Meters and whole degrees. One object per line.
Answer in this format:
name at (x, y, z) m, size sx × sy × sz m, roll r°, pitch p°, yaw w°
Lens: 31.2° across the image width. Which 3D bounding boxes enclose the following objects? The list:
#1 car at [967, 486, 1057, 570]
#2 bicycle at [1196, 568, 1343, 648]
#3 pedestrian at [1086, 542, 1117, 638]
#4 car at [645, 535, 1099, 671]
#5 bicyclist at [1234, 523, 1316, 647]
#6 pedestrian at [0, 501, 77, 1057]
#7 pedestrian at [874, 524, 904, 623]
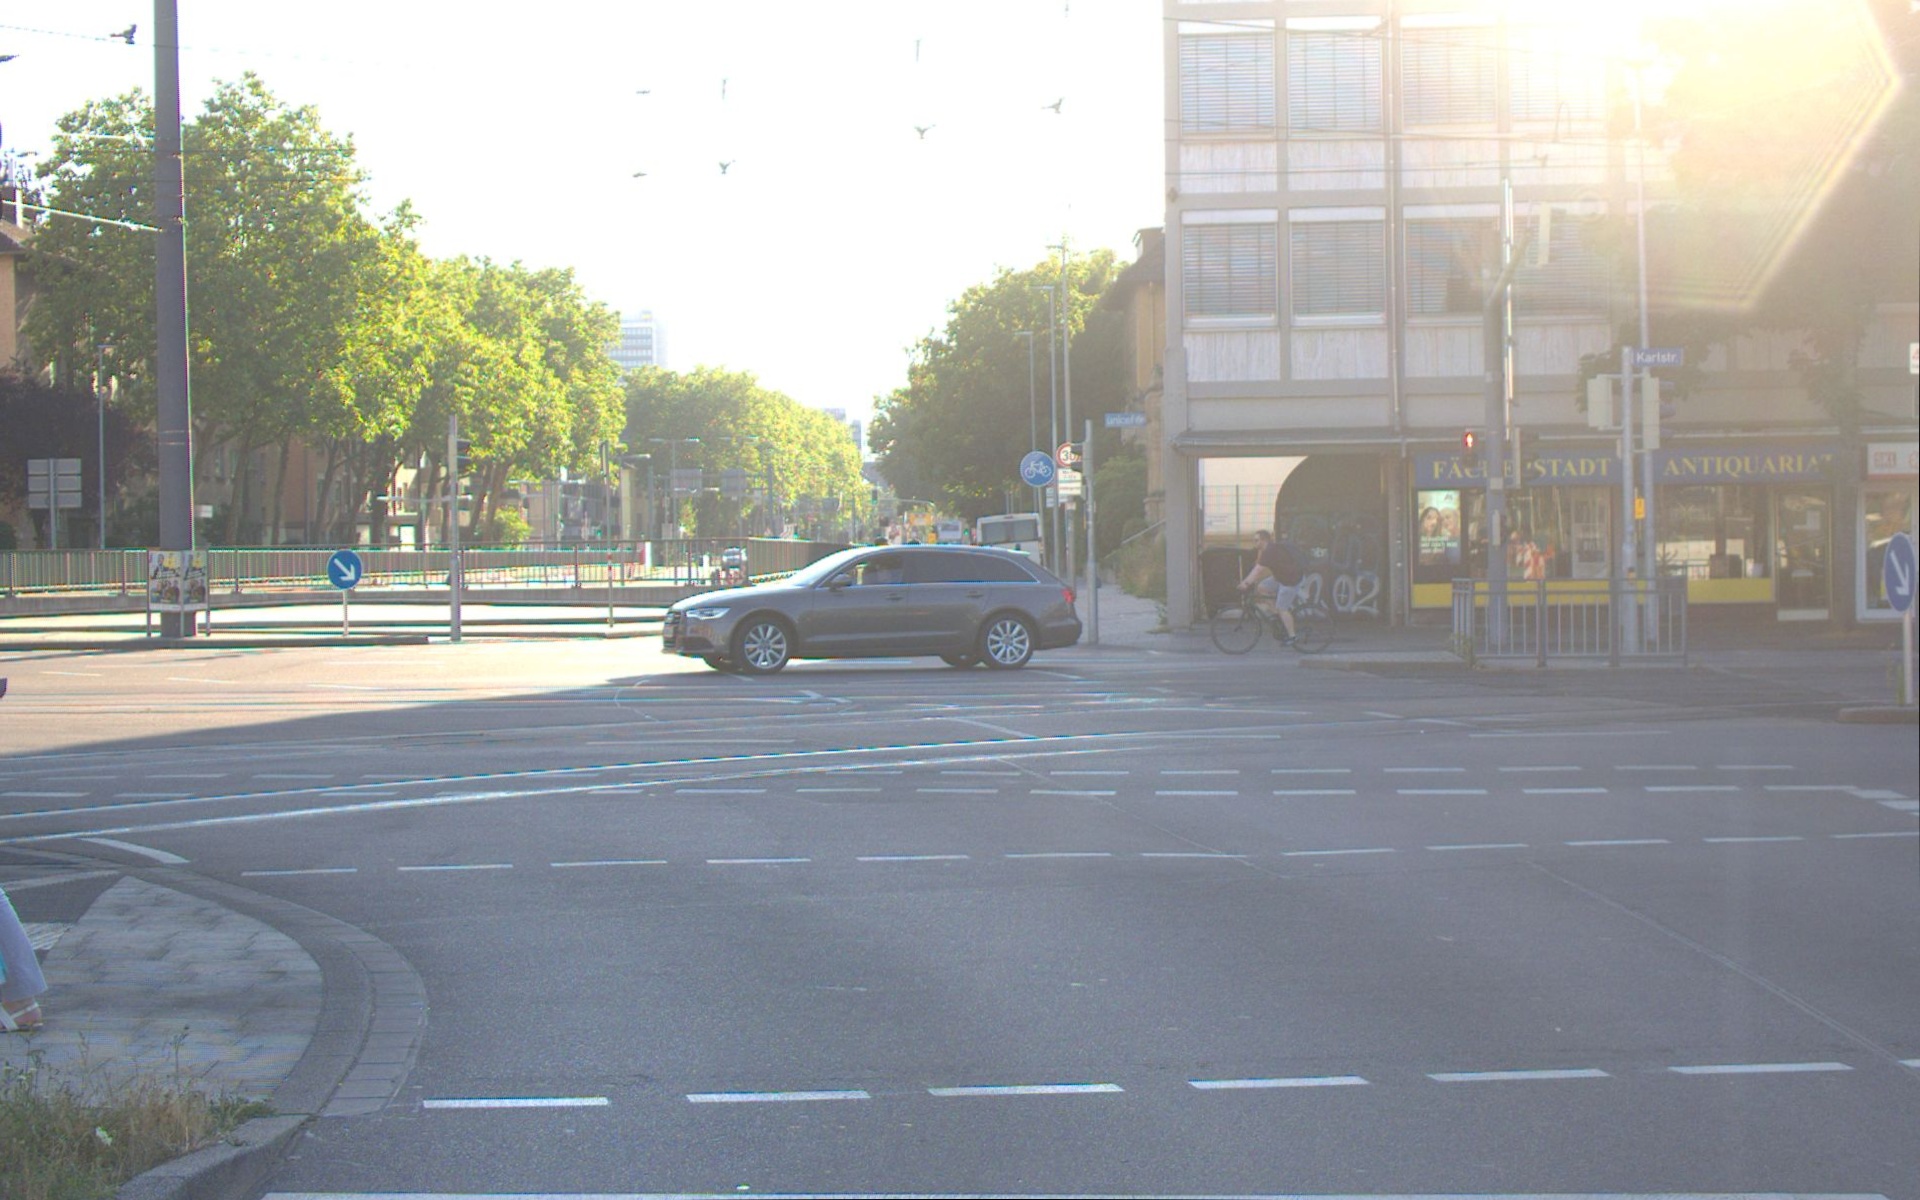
car at (1.556, -2.189, 105.538) m, size 2.486 × 2.384 × 5.935 m, roll -2°, pitch 1°, yaw -1°
bicycle at (4.356, 0.106, 48.436) m, size 1.972 × 1.094 × 0.677 m, roll -1°, pitch 1°, yaw -4°
pedestrian at (2.237, -0.167, 54.427) m, size 0.365 × 1.502 × 0.543 m, roll -1°, pitch 1°, yaw -7°
car at (-1.042, 0.007, 40.128) m, size 4.918 × 1.474 × 2.001 m, roll -1°, pitch 1°, yaw -17°
bicyclist at (4.438, -0.215, 48.437) m, size 1.040 × 1.733 × 0.678 m, roll -1°, pitch 1°, yaw -4°
pedestrian at (-3.149, 0.515, 10.162) m, size 0.878 × 1.592 × 0.655 m, roll -1°, pitch 1°, yaw 0°
pedestrian at (-1.084, -0.404, 52.509) m, size 0.365 × 1.502 × 0.543 m, roll -1°, pitch 1°, yaw -7°
